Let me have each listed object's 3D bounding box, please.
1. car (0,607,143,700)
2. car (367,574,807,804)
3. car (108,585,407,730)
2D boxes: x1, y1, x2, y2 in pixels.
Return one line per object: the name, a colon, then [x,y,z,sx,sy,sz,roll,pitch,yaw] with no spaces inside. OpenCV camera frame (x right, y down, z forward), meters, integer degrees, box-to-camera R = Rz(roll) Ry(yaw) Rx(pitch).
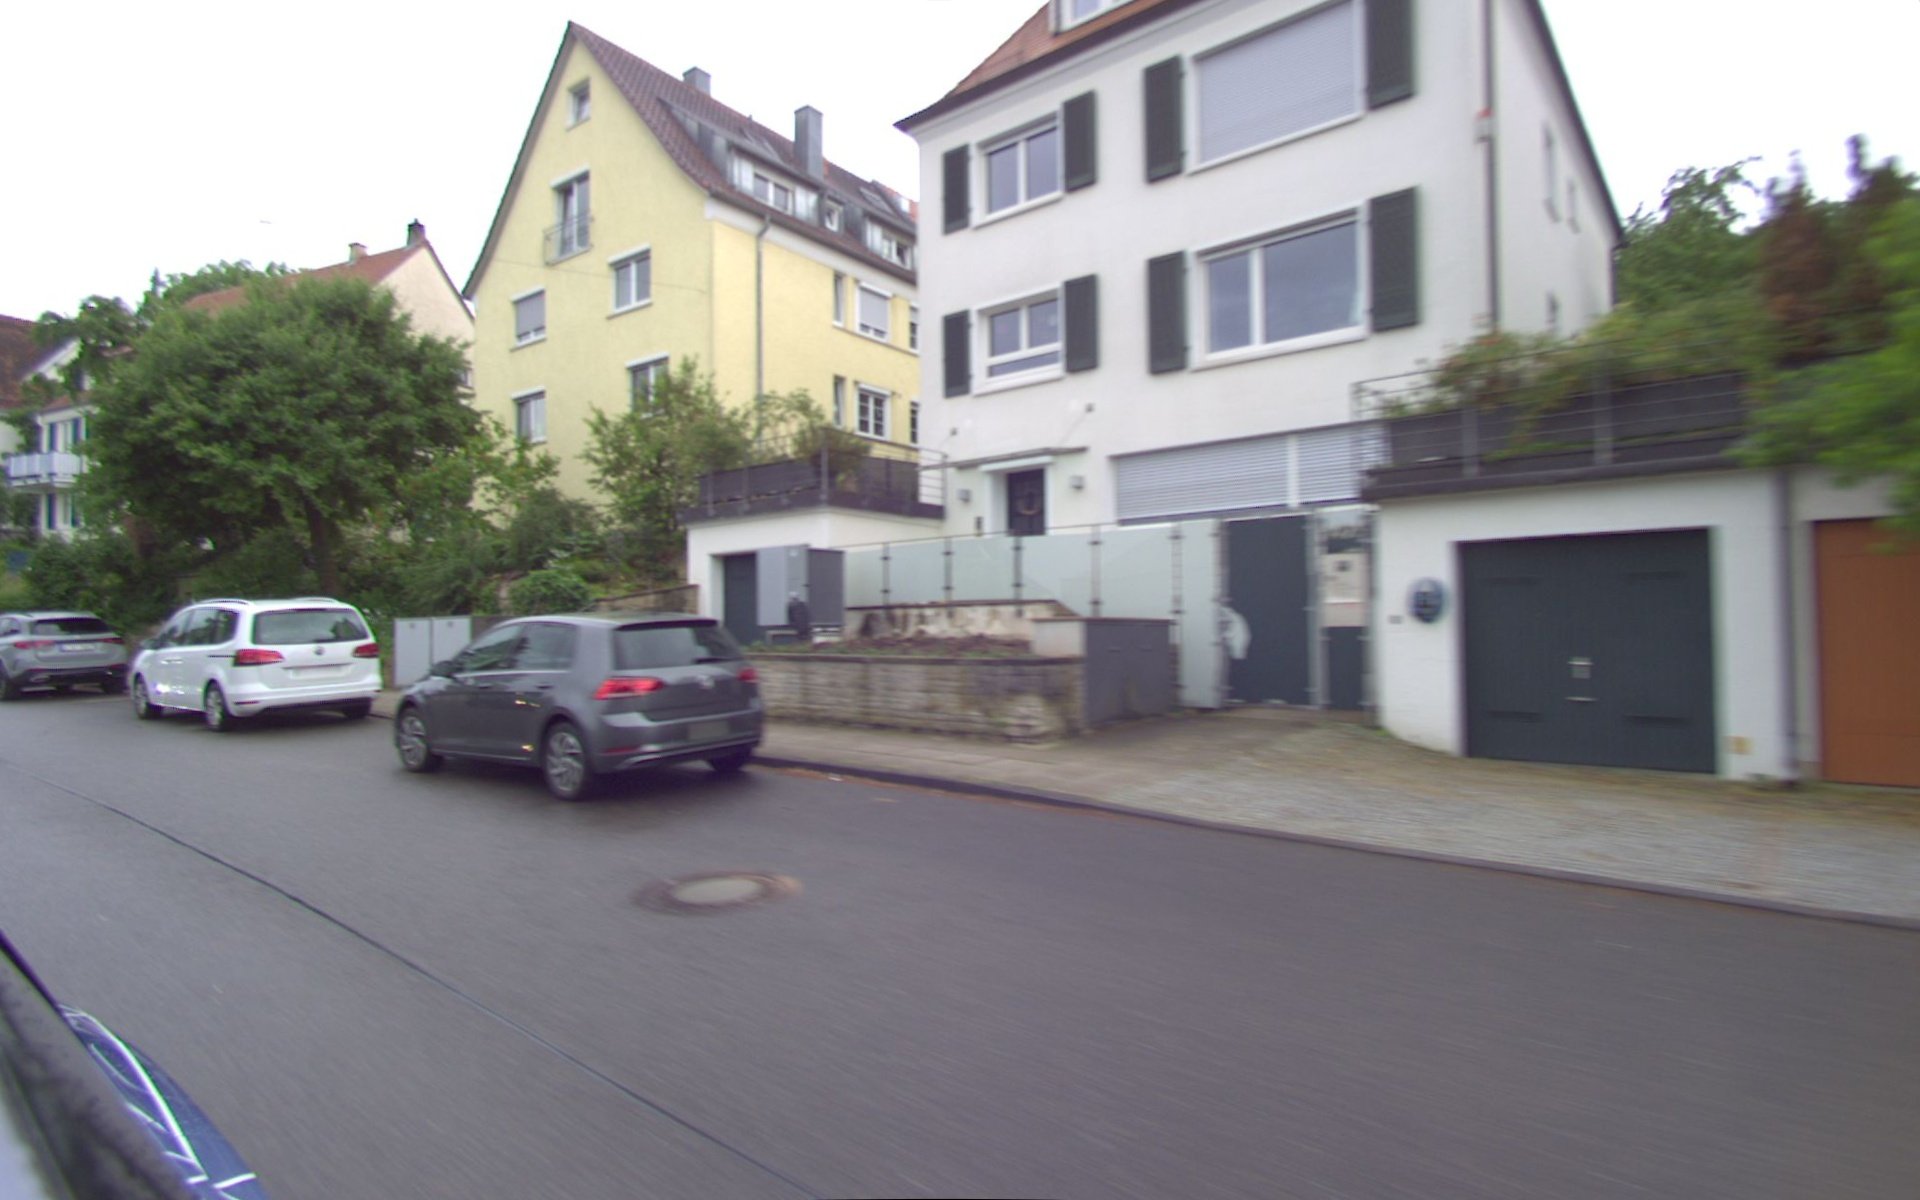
car: [-18.585,1.049,20.345,4.747,1.592,1.978,-2,1,33]
car: [-3.491,0.672,9.142,4.132,1.592,1.775,-2,1,38]
car: [-10.141,0.763,14.483,4.728,1.715,1.977,-2,1,35]
